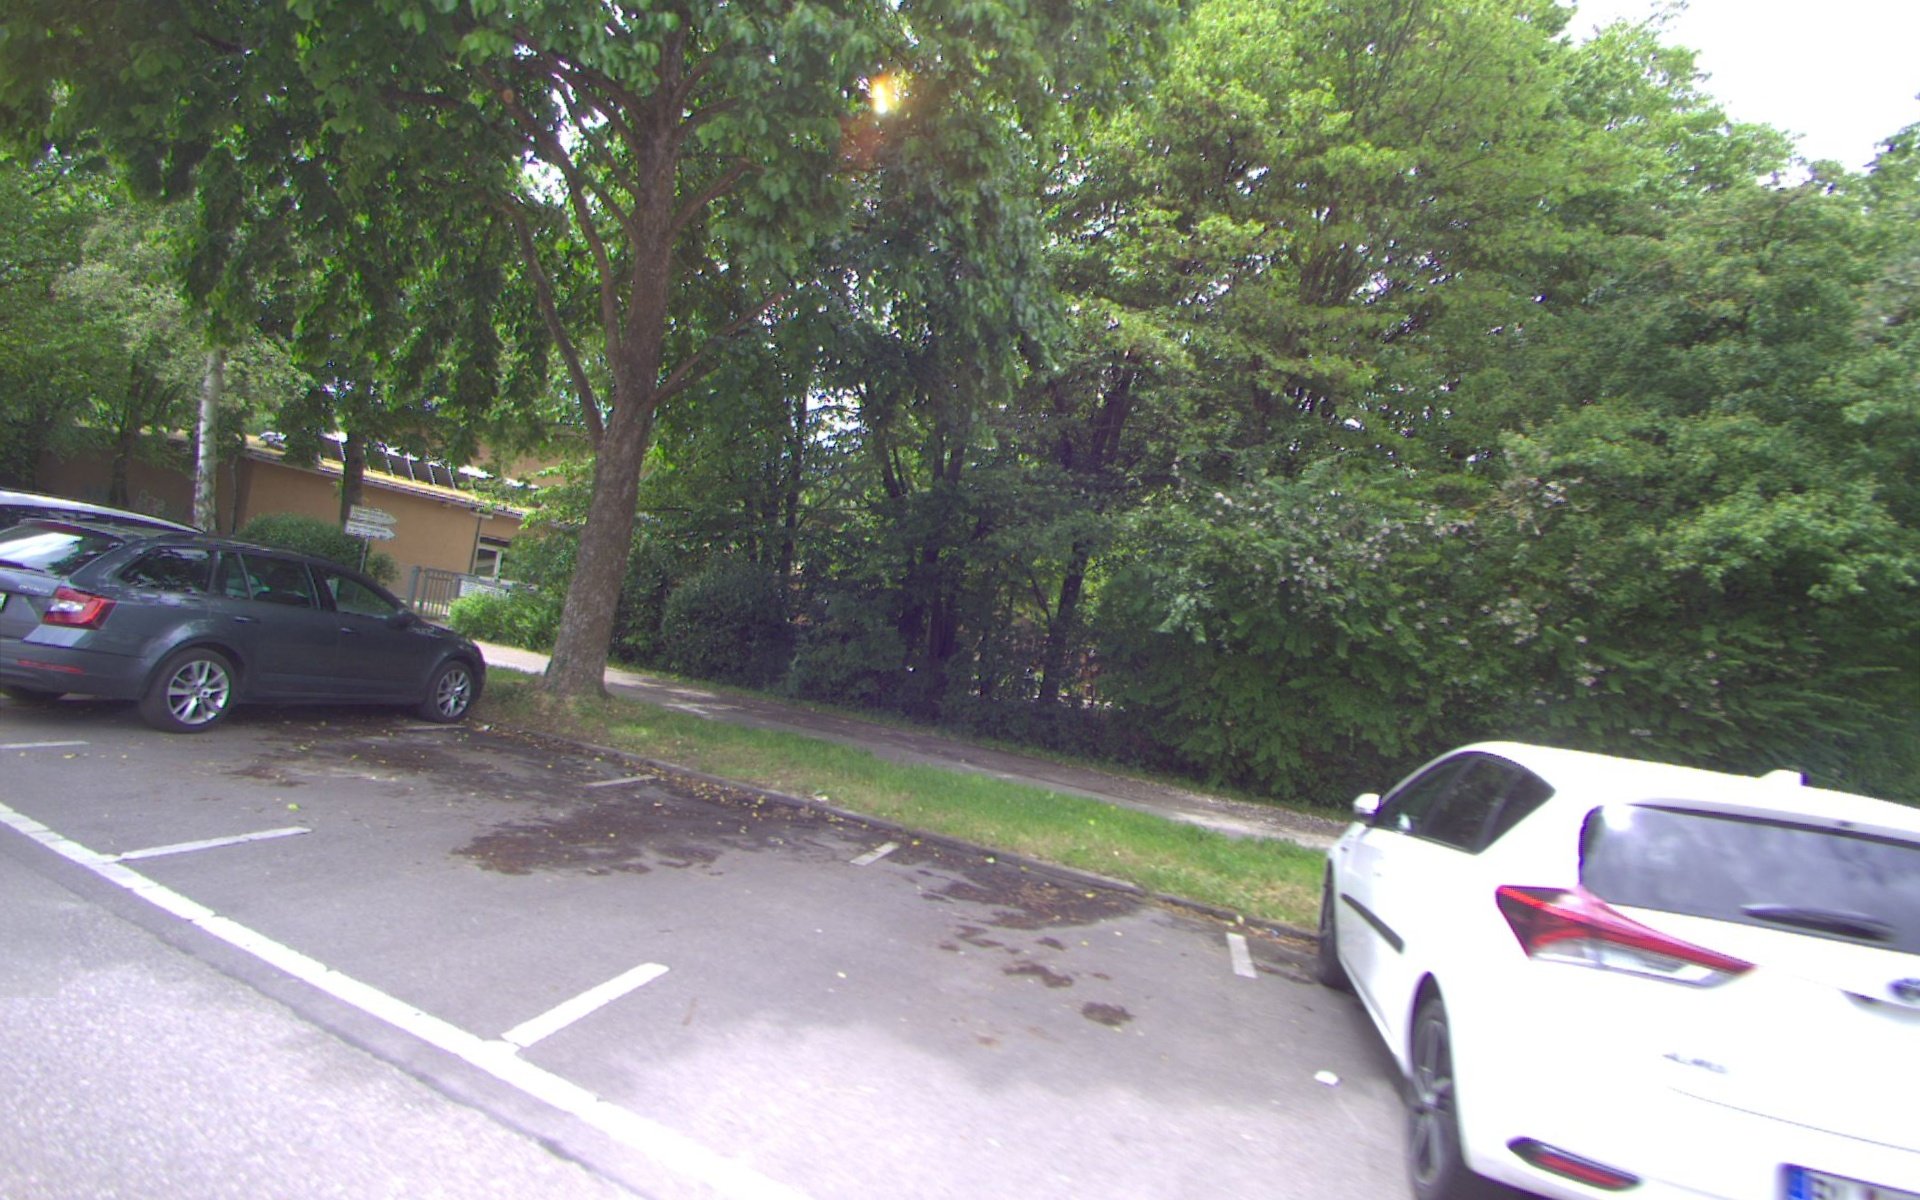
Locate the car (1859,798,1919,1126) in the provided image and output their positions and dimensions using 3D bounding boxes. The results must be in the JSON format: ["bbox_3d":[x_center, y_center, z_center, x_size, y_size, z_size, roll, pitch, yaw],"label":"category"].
[{"bbox_3d":[4.932,1.652,2.990,1.762,1.479,4.007,7,-4,18],"label":"car"}]

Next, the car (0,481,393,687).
[{"bbox_3d":[-8.341,-0.130,9.945,1.871,1.602,4.490,7,-4,19],"label":"car"}]

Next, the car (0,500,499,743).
[{"bbox_3d":[-6.152,0.238,8.529,1.764,1.479,4.155,8,-3,13],"label":"car"}]

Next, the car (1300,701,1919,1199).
[{"bbox_3d":[2.590,1.286,4.081,1.830,1.479,4.008,7,-3,15],"label":"car"}]
